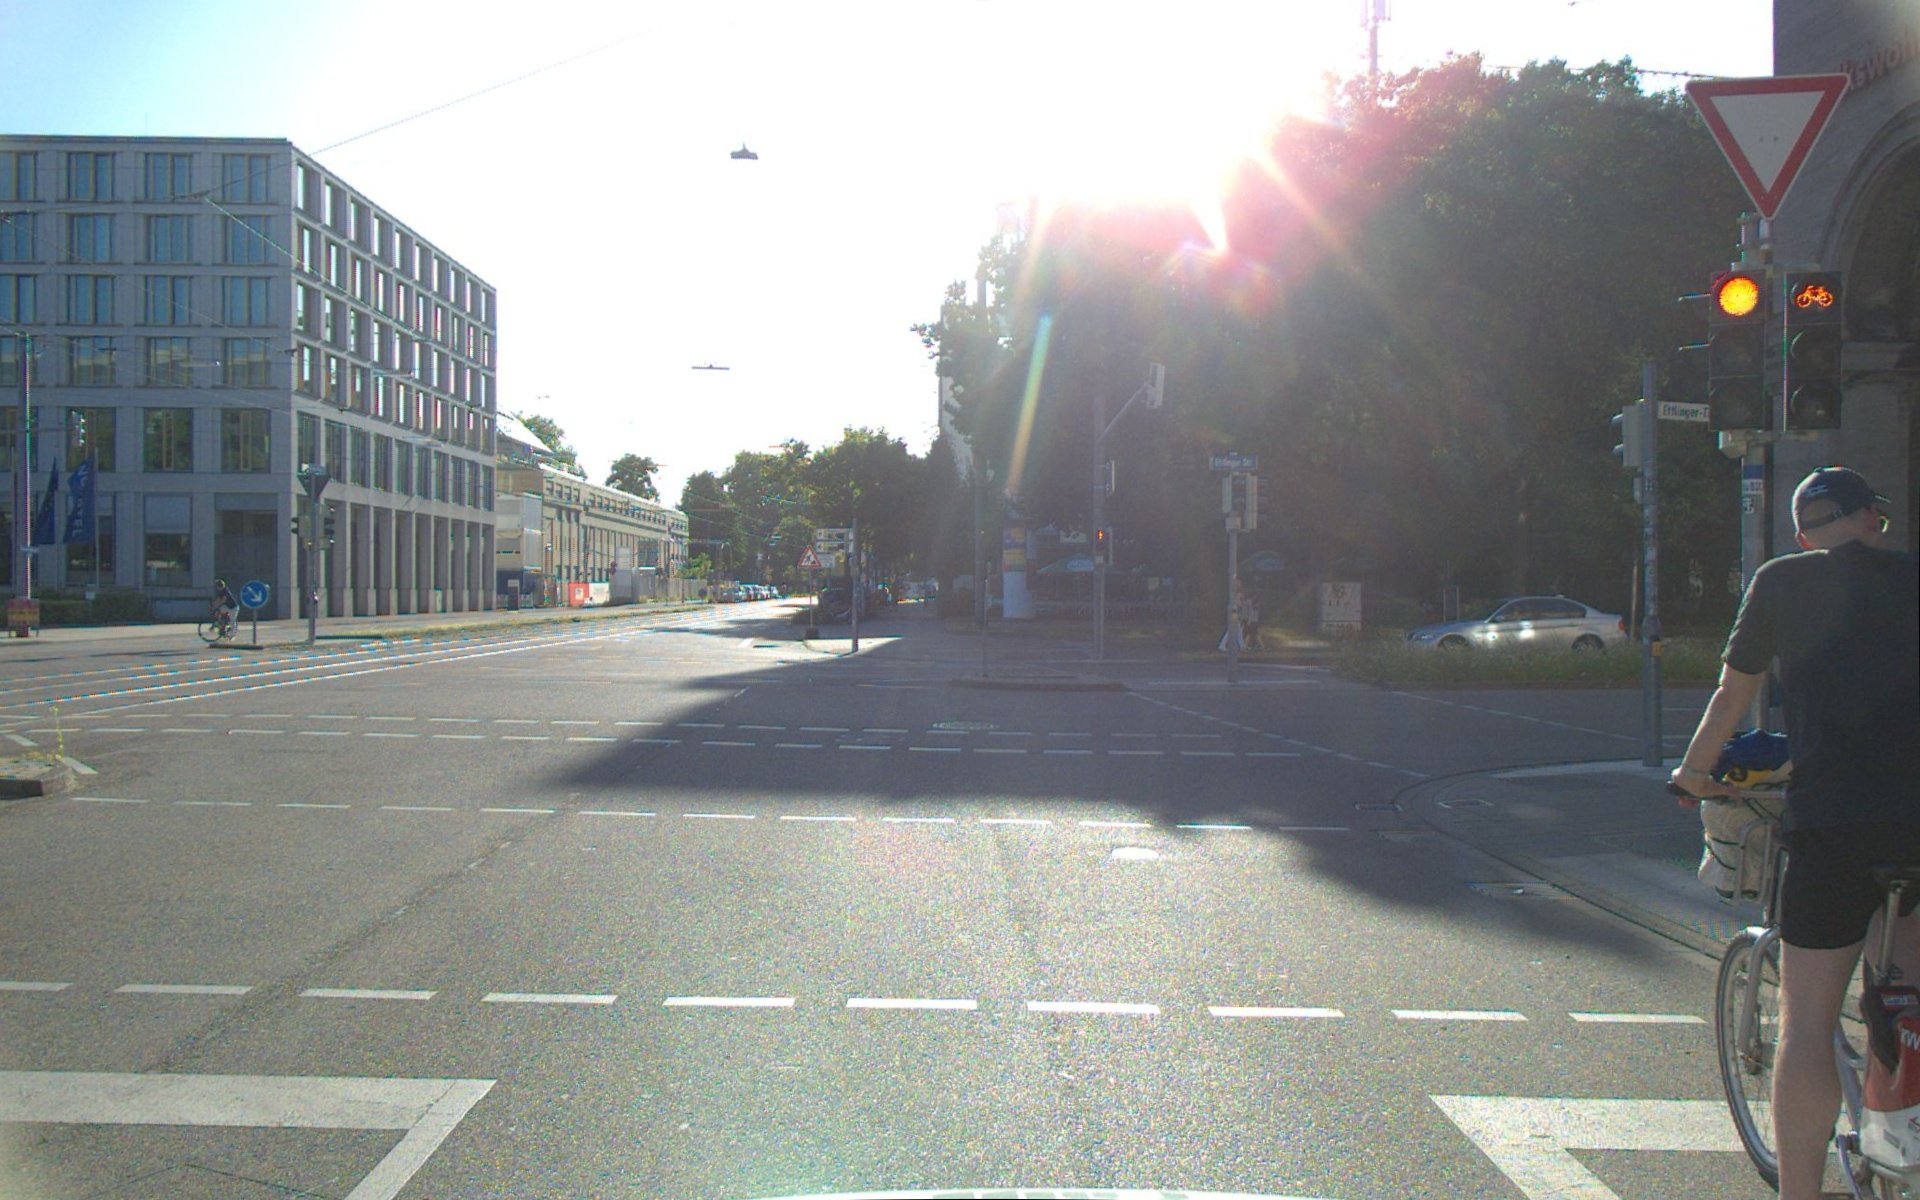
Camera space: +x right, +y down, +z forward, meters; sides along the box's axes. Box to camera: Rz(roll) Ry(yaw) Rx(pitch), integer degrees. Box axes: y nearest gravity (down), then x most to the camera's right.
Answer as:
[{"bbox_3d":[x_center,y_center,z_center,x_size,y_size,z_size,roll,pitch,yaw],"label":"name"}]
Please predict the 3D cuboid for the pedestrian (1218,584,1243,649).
[{"bbox_3d":[7.225,0.432,44.122,0.571,1.692,0.514,1,1,1],"label":"pedestrian"}]

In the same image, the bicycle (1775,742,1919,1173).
[{"bbox_3d":[2.859,1.001,4.336,0.523,1.096,1.750,1,0,-2],"label":"bicycle"}]

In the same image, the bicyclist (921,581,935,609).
[{"bbox_3d":[-2.042,-0.311,104.424,0.687,1.721,0.568,0,0,40],"label":"bicyclist"}]

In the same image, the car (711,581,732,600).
[{"bbox_3d":[-22.479,-0.890,156.110,1.659,1.748,4.244,1,0,-4],"label":"car"}]

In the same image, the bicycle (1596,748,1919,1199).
[{"bbox_3d":[2.072,0.982,3.889,0.505,1.096,1.728,1,0,1],"label":"bicycle"}]

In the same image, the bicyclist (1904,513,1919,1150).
[{"bbox_3d":[2.884,0.628,4.229,0.546,1.721,0.640,1,0,-2],"label":"bicyclist"}]

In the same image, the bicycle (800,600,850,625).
[{"bbox_3d":[-5.490,0.510,67.382,1.976,0.907,0.650,-2,-1,27],"label":"bicycle"}]

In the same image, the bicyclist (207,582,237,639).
[{"bbox_3d":[-21.127,0.291,47.347,0.764,1.617,0.756,0,0,-23],"label":"bicyclist"}]

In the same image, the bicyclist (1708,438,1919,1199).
[{"bbox_3d":[2.091,0.579,3.730,0.547,1.830,0.550,1,0,1],"label":"bicyclist"}]

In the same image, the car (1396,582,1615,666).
[{"bbox_3d":[11.022,0.476,33.567,3.912,1.639,1.650,0,0,-1],"label":"car"}]

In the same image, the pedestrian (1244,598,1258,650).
[{"bbox_3d":[7.670,0.633,43.579,0.310,1.339,0.345,1,1,1],"label":"pedestrian"}]

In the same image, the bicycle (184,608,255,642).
[{"bbox_3d":[-21.175,0.706,47.338,1.834,0.951,0.757,0,0,-25],"label":"bicycle"}]

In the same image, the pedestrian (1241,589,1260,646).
[{"bbox_3d":[7.822,0.475,44.609,0.430,1.529,0.437,0,0,0],"label":"pedestrian"}]

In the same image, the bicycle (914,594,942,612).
[{"bbox_3d":[-2.022,0.199,104.415,1.796,1.096,0.574,0,0,40],"label":"bicycle"}]

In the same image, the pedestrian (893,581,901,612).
[{"bbox_3d":[-3.724,-0.195,98.371,0.454,1.845,0.502,0,0,-5],"label":"pedestrian"}]

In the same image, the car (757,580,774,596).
[{"bbox_3d":[-22.839,-1.426,194.359,1.659,1.748,4.244,1,0,-4],"label":"car"}]
